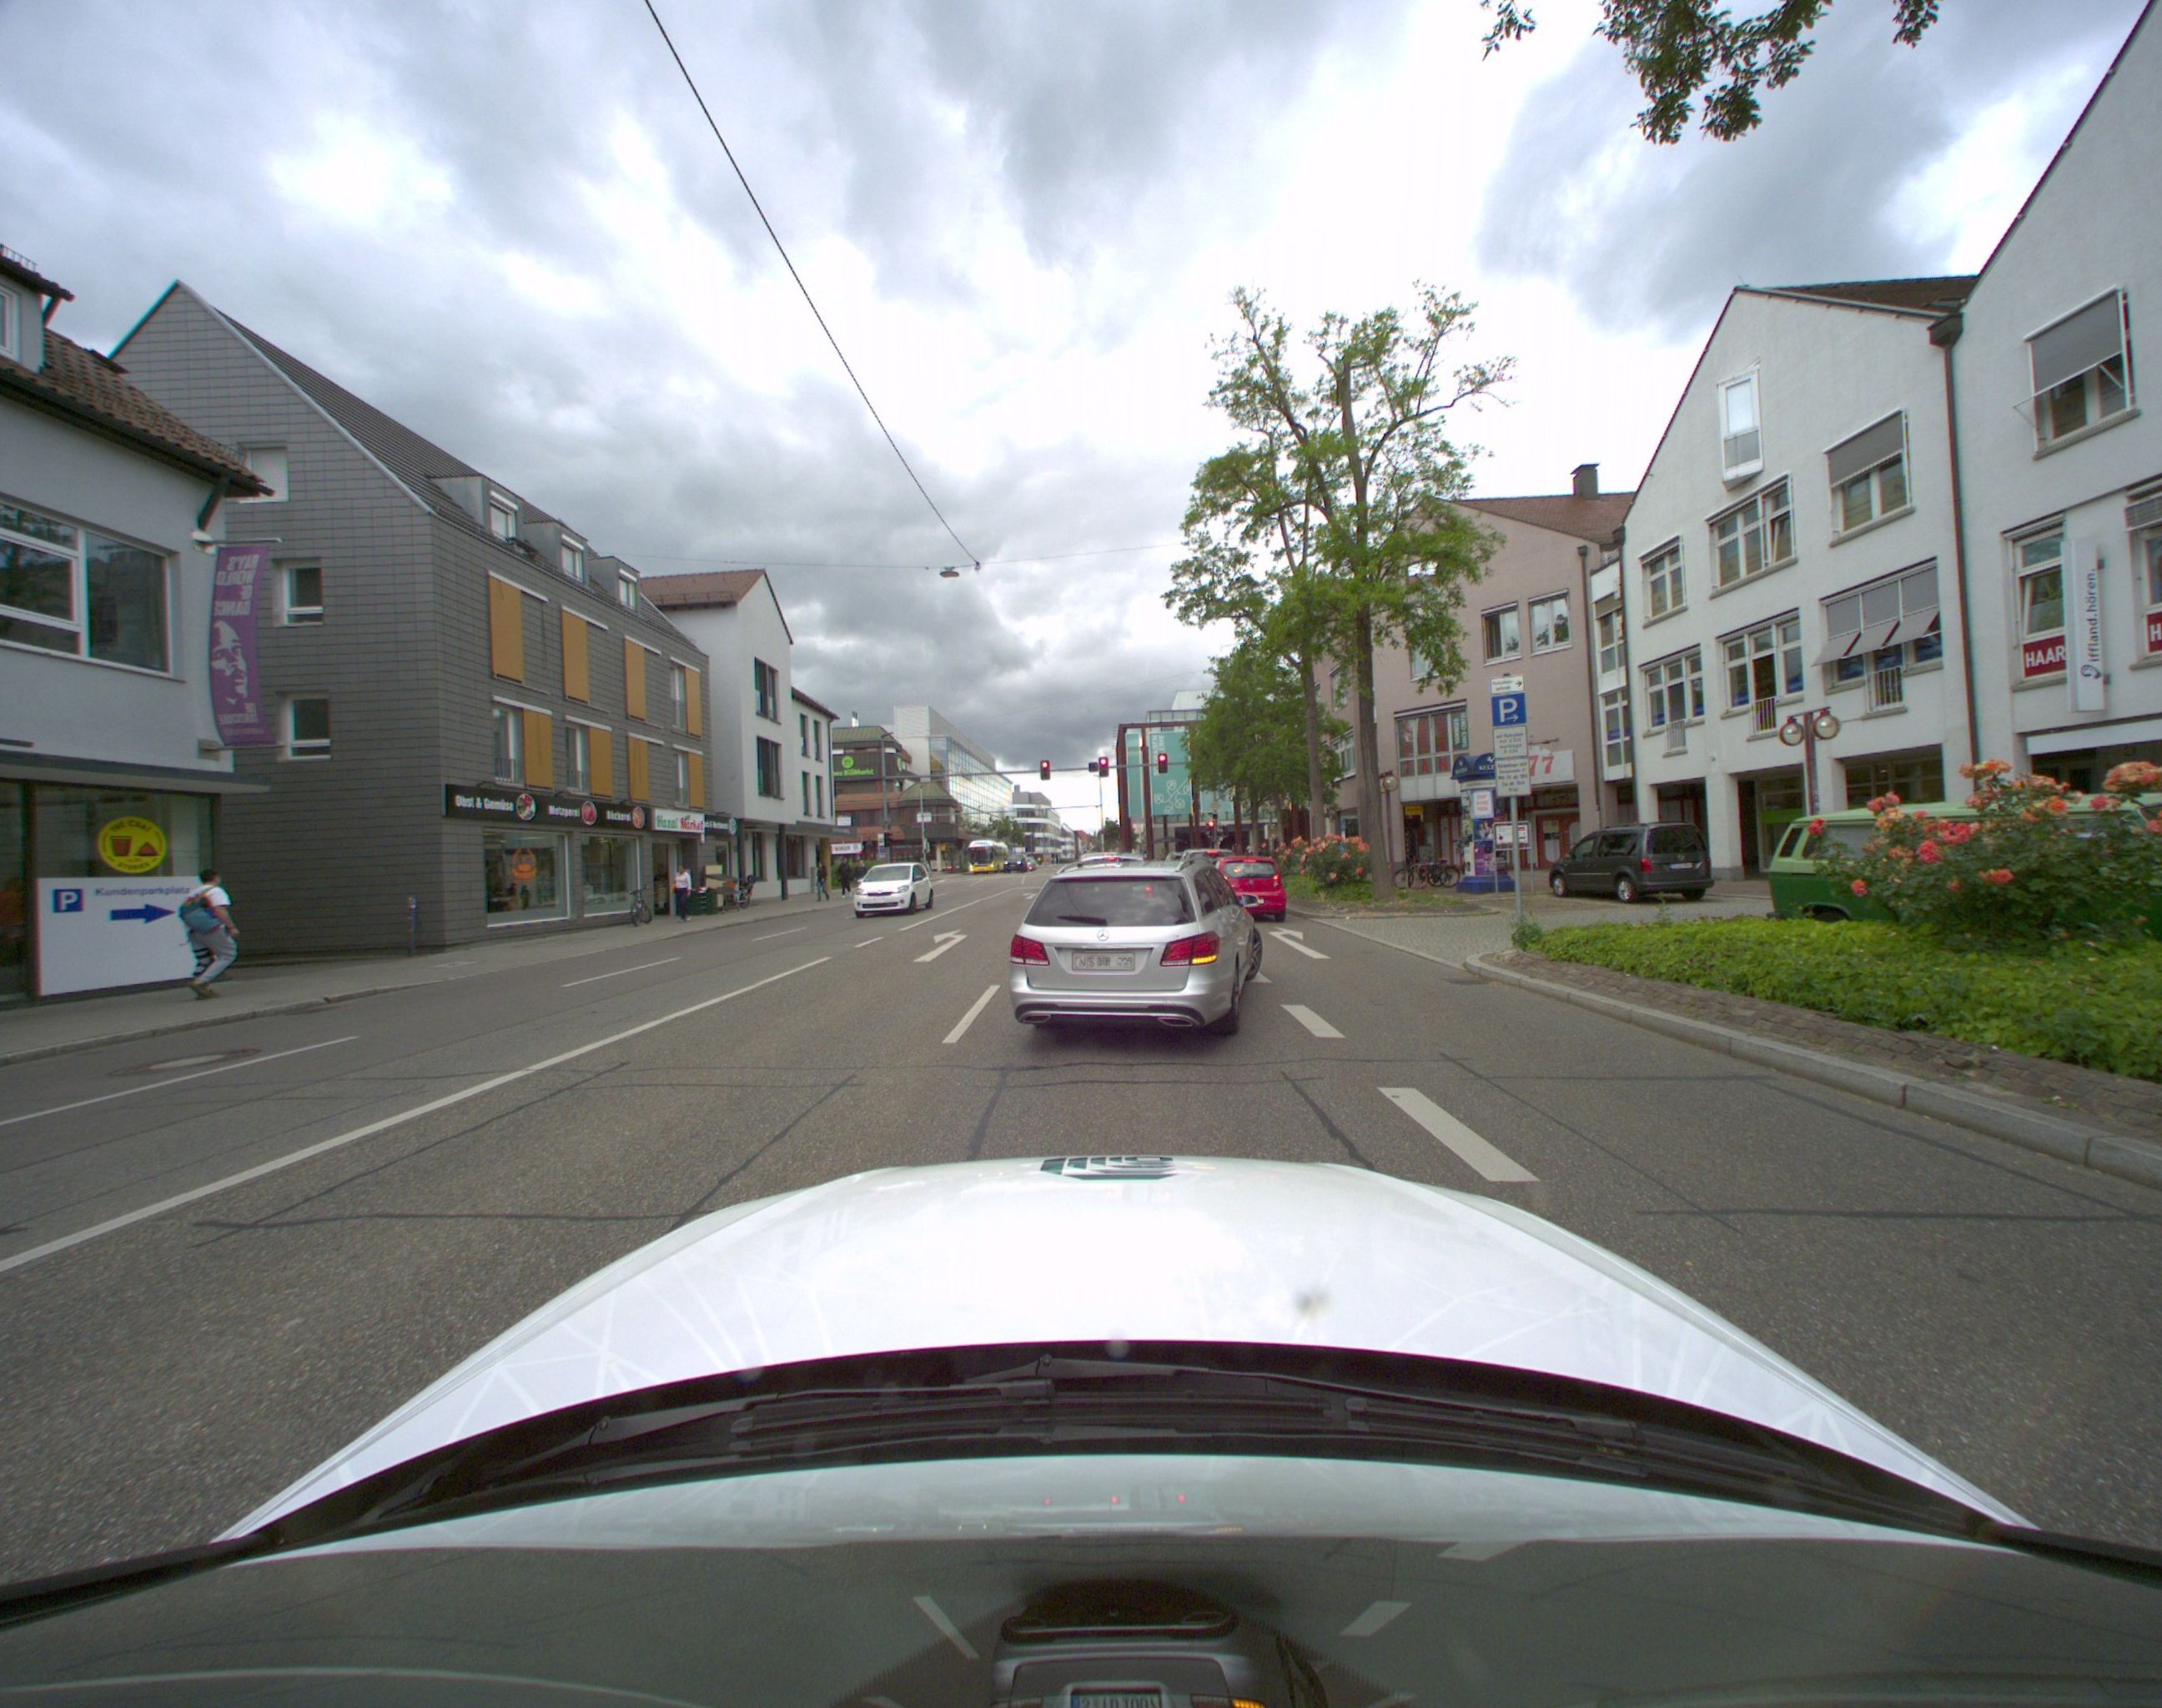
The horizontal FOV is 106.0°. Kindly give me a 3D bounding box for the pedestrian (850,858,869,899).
[{"bbox_3d":[-9.926,1.098,36.488,0.681,1.790,0.647,-2,0,-7],"label":"pedestrian"}]

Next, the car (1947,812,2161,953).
[{"bbox_3d":[13.010,0.285,9.163,1.790,1.542,4.394,-4,0,0],"label":"car"}]

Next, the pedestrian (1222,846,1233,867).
[{"bbox_3d":[12.205,0.213,67.686,0.652,1.650,0.557,-2,0,-13],"label":"pedestrian"}]

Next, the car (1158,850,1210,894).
[{"bbox_3d":[3.979,0.661,32.015,1.581,1.595,3.868,0,0,0],"label":"car"}]

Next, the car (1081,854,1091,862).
[{"bbox_3d":[0.969,0.828,164.814,1.793,1.540,4.068,-2,0,3],"label":"car"}]

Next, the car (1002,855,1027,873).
[{"bbox_3d":[-6.501,0.944,80.321,1.987,1.706,4.065,-2,0,1],"label":"car"}]

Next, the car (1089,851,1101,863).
[{"bbox_3d":[2.436,0.572,142.020,1.987,1.949,4.951,-2,0,1],"label":"car"}]

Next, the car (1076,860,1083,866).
[{"bbox_3d":[-0.347,2.705,243.367,1.794,1.540,4.067,-2,0,2],"label":"car"}]

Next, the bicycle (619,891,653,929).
[{"bbox_3d":[-12.326,1.527,22.577,0.325,0.954,1.479,-2,0,-9],"label":"bicycle"}]

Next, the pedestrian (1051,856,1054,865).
[{"bbox_3d":[-5.787,1.374,164.188,0.516,1.733,0.490,-2,0,10],"label":"pedestrian"}]

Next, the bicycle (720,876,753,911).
[{"bbox_3d":[-12.425,1.410,29.441,0.385,1.186,1.825,-3,0,-1],"label":"bicycle"}]

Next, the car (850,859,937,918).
[{"bbox_3d":[-5.387,0.944,23.800,1.568,1.488,3.465,-3,0,1],"label":"car"}]

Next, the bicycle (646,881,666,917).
[{"bbox_3d":[-14.023,1.479,26.889,0.388,1.127,1.281,-2,0,-21],"label":"bicycle"}]

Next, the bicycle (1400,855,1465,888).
[{"bbox_3d":[11.624,0.581,26.990,1.891,0.997,0.468,-2,0,6],"label":"bicycle"}]

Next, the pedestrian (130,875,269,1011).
[{"bbox_3d":[-11.740,1.145,10.885,0.751,1.705,0.981,1,0,1],"label":"pedestrian"}]

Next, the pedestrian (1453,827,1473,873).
[{"bbox_3d":[15.639,-0.155,33.336,0.644,1.834,0.614,-2,0,24],"label":"pedestrian"}]

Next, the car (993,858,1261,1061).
[{"bbox_3d":[0.773,0.772,8.194,1.801,1.448,4.387,-1,0,15],"label":"car"}]

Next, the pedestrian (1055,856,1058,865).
[{"bbox_3d":[-4.933,1.366,164.432,0.516,1.733,0.490,-2,0,10],"label":"pedestrian"}]

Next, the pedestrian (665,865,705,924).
[{"bbox_3d":[-11.400,1.154,23.456,0.725,1.610,0.753,-2,0,2],"label":"pedestrian"}]

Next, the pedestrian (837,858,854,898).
[{"bbox_3d":[-10.754,1.105,37.202,0.567,1.775,0.646,-2,0,-4],"label":"pedestrian"}]

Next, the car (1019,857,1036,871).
[{"bbox_3d":[-5.779,1.085,87.743,1.550,1.392,3.288,-2,0,1],"label":"car"}]

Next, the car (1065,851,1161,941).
[{"bbox_3d":[0.604,0.731,15.786,1.634,1.527,3.395,-1,0,2],"label":"car"}]

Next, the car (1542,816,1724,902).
[{"bbox_3d":[13.416,0.110,20.107,1.633,1.831,3.963,-3,0,-2],"label":"car"}]

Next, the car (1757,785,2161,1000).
[{"bbox_3d":[10.353,0.282,8.989,1.874,1.876,4.605,-4,0,0],"label":"car"}]

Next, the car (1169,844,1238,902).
[{"bbox_3d":[3.731,0.544,25.343,1.581,1.634,3.916,0,0,0],"label":"car"}]

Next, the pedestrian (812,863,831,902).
[{"bbox_3d":[-11.079,1.211,34.814,0.652,1.650,0.557,-2,0,-13],"label":"pedestrian"}]

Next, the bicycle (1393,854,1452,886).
[{"bbox_3d":[11.548,0.548,27.591,1.760,0.997,0.447,-2,0,6],"label":"bicycle"}]

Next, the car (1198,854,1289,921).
[{"bbox_3d":[3.751,0.732,19.290,1.580,1.443,3.350,0,0,2],"label":"car"}]

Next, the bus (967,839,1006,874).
[{"bbox_3d":[-9.520,0.245,82.967,2.677,3.261,8.654,-2,0,1],"label":"bus"}]
